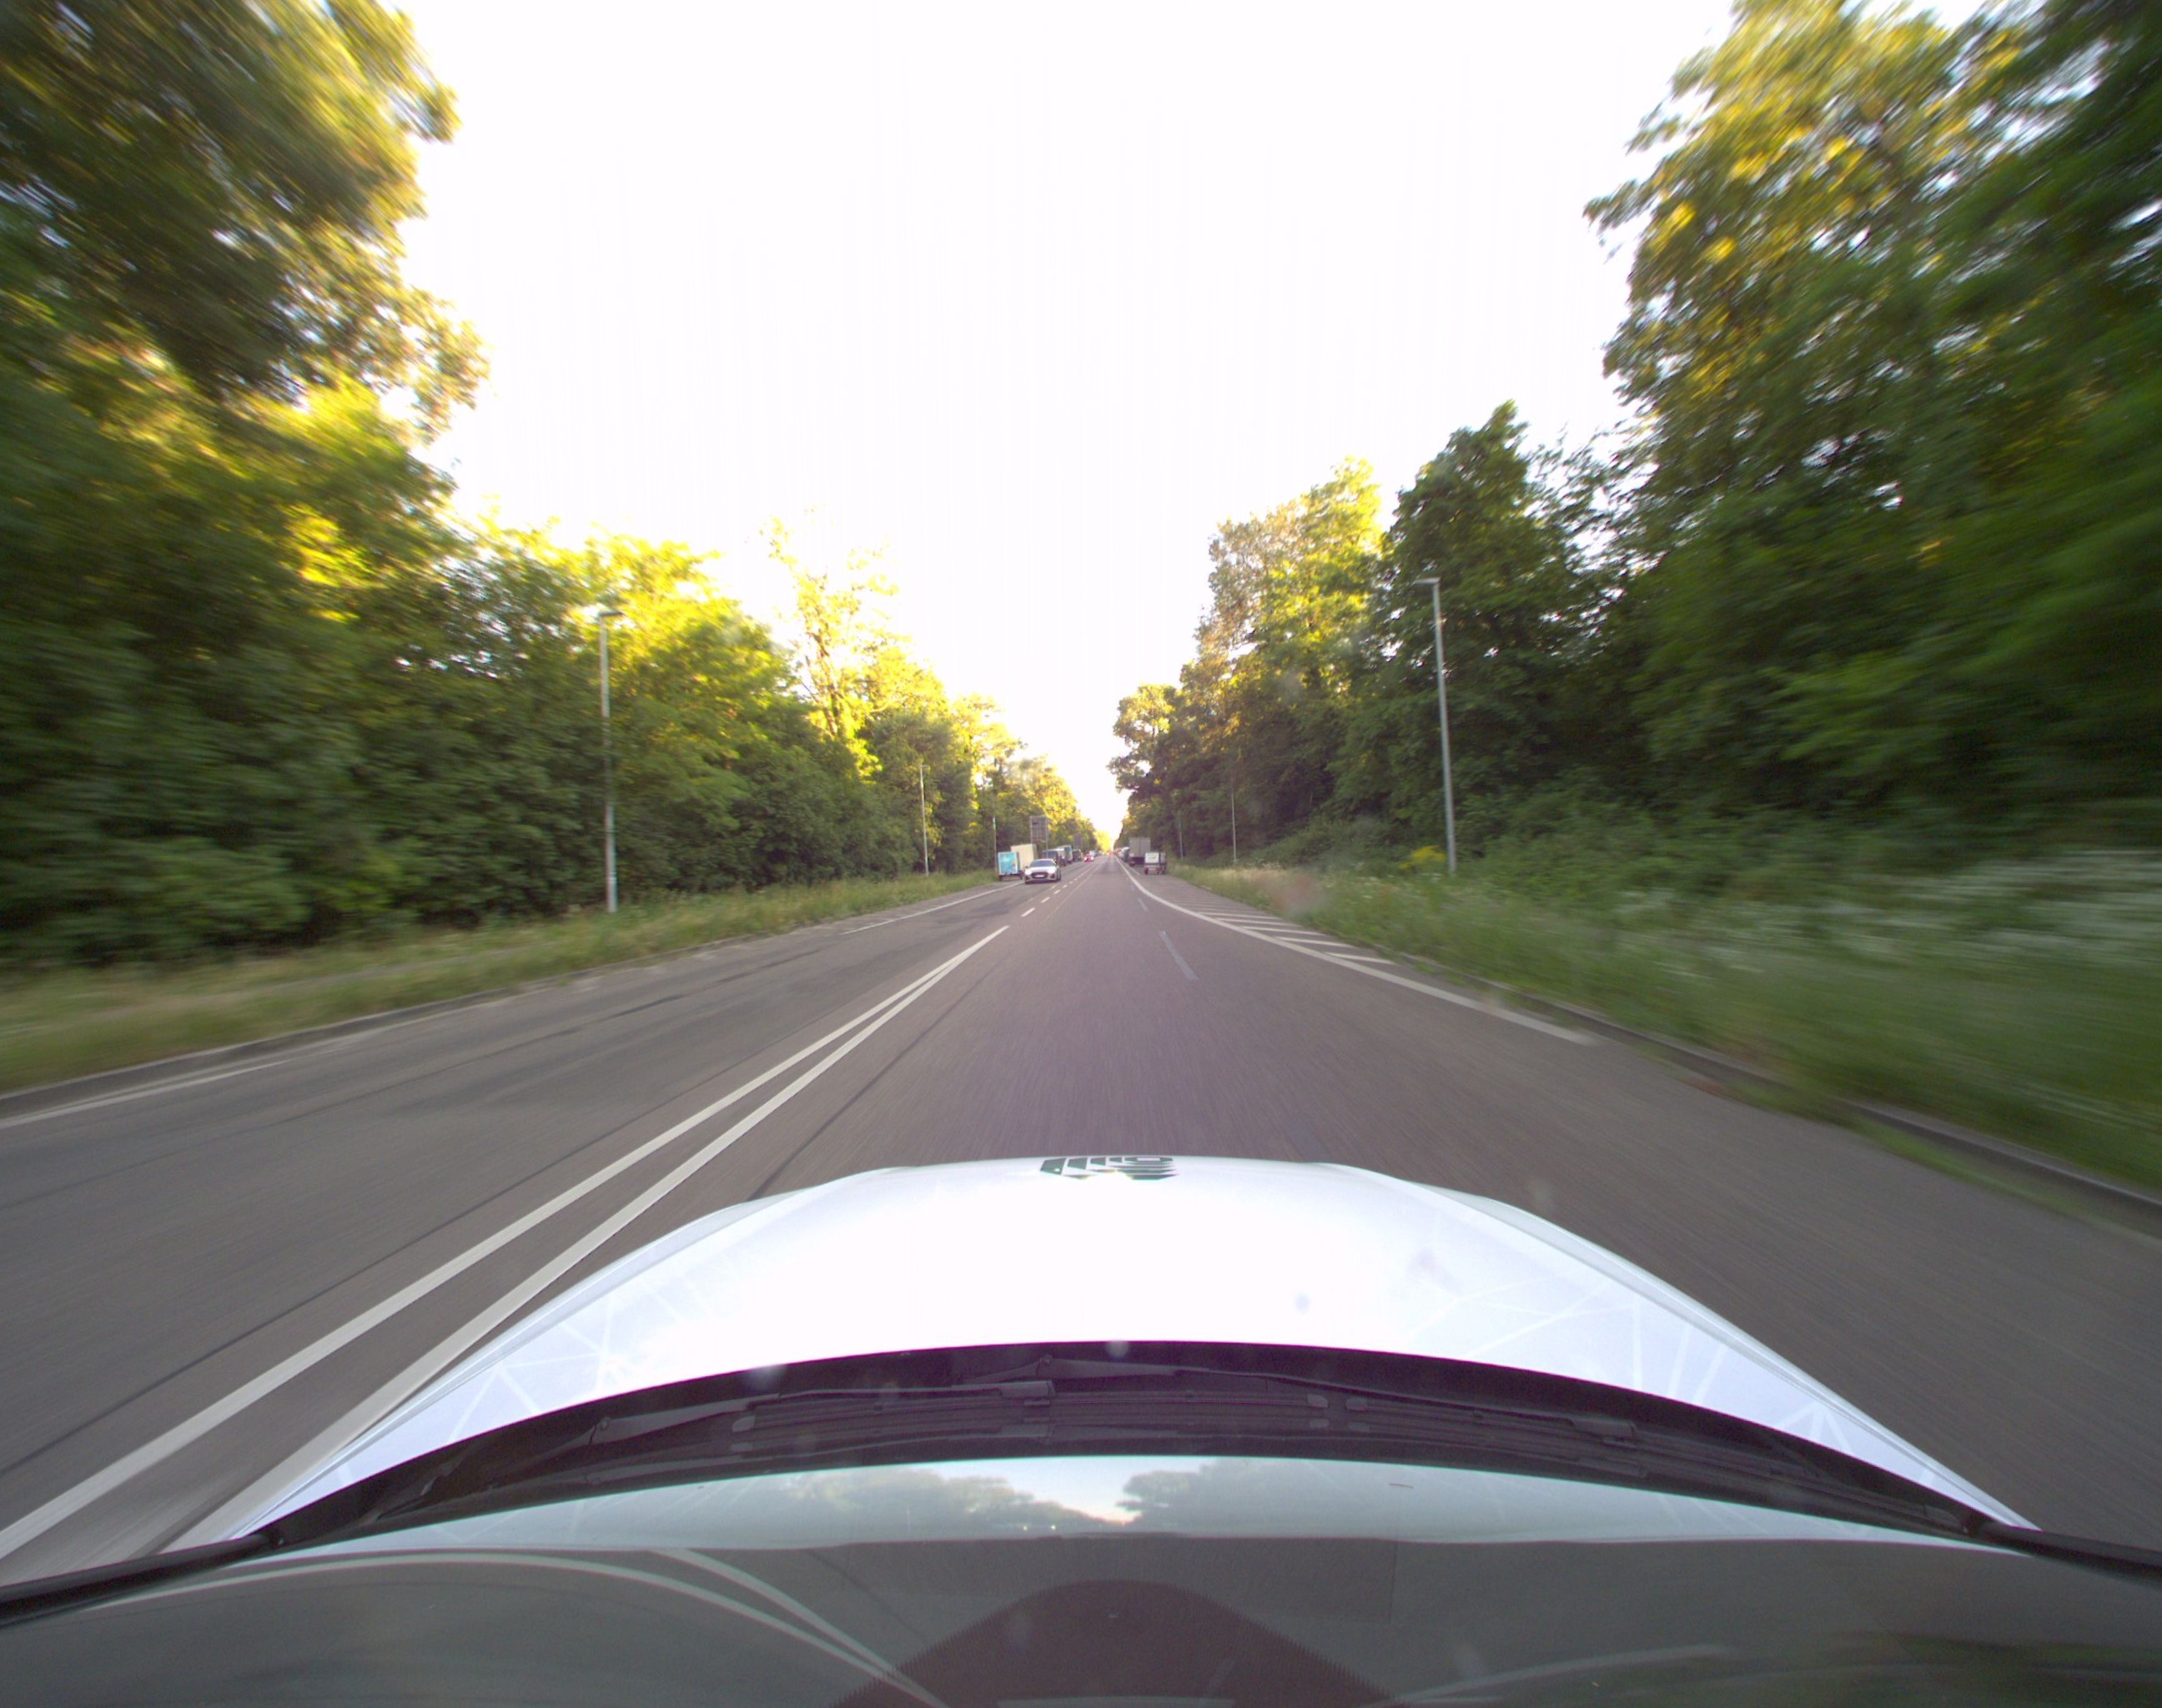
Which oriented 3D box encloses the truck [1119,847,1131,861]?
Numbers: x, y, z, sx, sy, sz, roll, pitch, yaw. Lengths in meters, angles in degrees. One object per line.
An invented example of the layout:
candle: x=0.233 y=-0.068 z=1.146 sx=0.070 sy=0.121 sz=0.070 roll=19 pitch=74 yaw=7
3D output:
truck: x=8.566 y=0.014 z=158.294 sx=2.135 sy=2.659 sz=4.299 roll=-1 pitch=0 yaw=0

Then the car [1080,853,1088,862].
car: x=0.744 y=0.769 z=197.306 sx=1.694 sy=2.013 sz=4.002 roll=-8 pitch=0 yaw=2

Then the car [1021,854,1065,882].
car: x=-2.294 y=0.839 z=50.353 sx=2.054 sy=1.435 sz=4.471 roll=-5 pitch=0 yaw=4

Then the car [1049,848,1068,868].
car: x=-3.191 y=0.529 z=118.649 sx=2.241 sy=2.647 sz=5.724 roll=-4 pitch=0 yaw=2

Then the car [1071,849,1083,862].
car: x=-0.840 y=0.313 z=178.859 sx=2.178 sy=2.788 sz=5.336 roll=-4 pitch=0 yaw=2

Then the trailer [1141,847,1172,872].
trailer: x=5.540 y=0.404 z=59.518 sx=1.445 sy=1.662 sz=3.794 roll=-3 pitch=0 yaw=17

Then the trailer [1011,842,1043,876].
trailer: x=-4.967 y=0.445 z=75.801 sx=2.317 sy=2.924 sz=5.628 roll=-5 pitch=0 yaw=1

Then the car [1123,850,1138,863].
car: x=7.626 y=0.355 z=126.020 sx=1.987 sy=1.955 sz=4.299 roll=-1 pitch=0 yaw=0

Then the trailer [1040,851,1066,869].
trailer: x=-3.855 y=0.820 z=113.132 sx=1.945 sy=2.155 sz=3.952 roll=-4 pitch=0 yaw=23

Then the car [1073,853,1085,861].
car: x=-0.584 y=0.741 z=206.631 sx=1.685 sy=2.013 sz=4.021 roll=-1 pitch=0 yaw=20

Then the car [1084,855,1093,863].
car: x=1.428 y=0.983 z=160.062 sx=1.677 sy=1.486 sz=4.038 roll=-3 pitch=0 yaw=1

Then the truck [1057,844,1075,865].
truck: x=-2.640 y=0.072 z=144.232 sx=2.495 sy=3.328 sz=6.844 roll=-4 pitch=0 yaw=2

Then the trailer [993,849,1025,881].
trailer: x=-5.296 y=0.783 z=60.186 sx=1.811 sy=2.167 sz=4.143 roll=-3 pitch=0 yaw=1

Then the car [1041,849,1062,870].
car: x=-3.691 y=0.657 z=102.223 sx=1.986 sy=2.364 sz=5.768 roll=-5 pitch=0 yaw=2

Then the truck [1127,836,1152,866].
truck: x=6.568 y=-0.333 z=92.118 sx=2.578 sy=3.255 sz=7.227 roll=-1 pitch=0 yaw=3

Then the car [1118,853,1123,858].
car: x=10.902 y=0.416 z=223.567 sx=1.422 sy=1.222 sz=3.413 roll=-1 pitch=0 yaw=2

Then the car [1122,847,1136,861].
car: x=8.519 y=0.036 z=145.279 sx=2.135 sy=2.313 sz=4.299 roll=-1 pitch=0 yaw=0

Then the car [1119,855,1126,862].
car: x=8.374 y=0.933 z=164.738 sx=1.143 sy=1.251 sz=2.753 roll=-7 pitch=1 yaw=0
